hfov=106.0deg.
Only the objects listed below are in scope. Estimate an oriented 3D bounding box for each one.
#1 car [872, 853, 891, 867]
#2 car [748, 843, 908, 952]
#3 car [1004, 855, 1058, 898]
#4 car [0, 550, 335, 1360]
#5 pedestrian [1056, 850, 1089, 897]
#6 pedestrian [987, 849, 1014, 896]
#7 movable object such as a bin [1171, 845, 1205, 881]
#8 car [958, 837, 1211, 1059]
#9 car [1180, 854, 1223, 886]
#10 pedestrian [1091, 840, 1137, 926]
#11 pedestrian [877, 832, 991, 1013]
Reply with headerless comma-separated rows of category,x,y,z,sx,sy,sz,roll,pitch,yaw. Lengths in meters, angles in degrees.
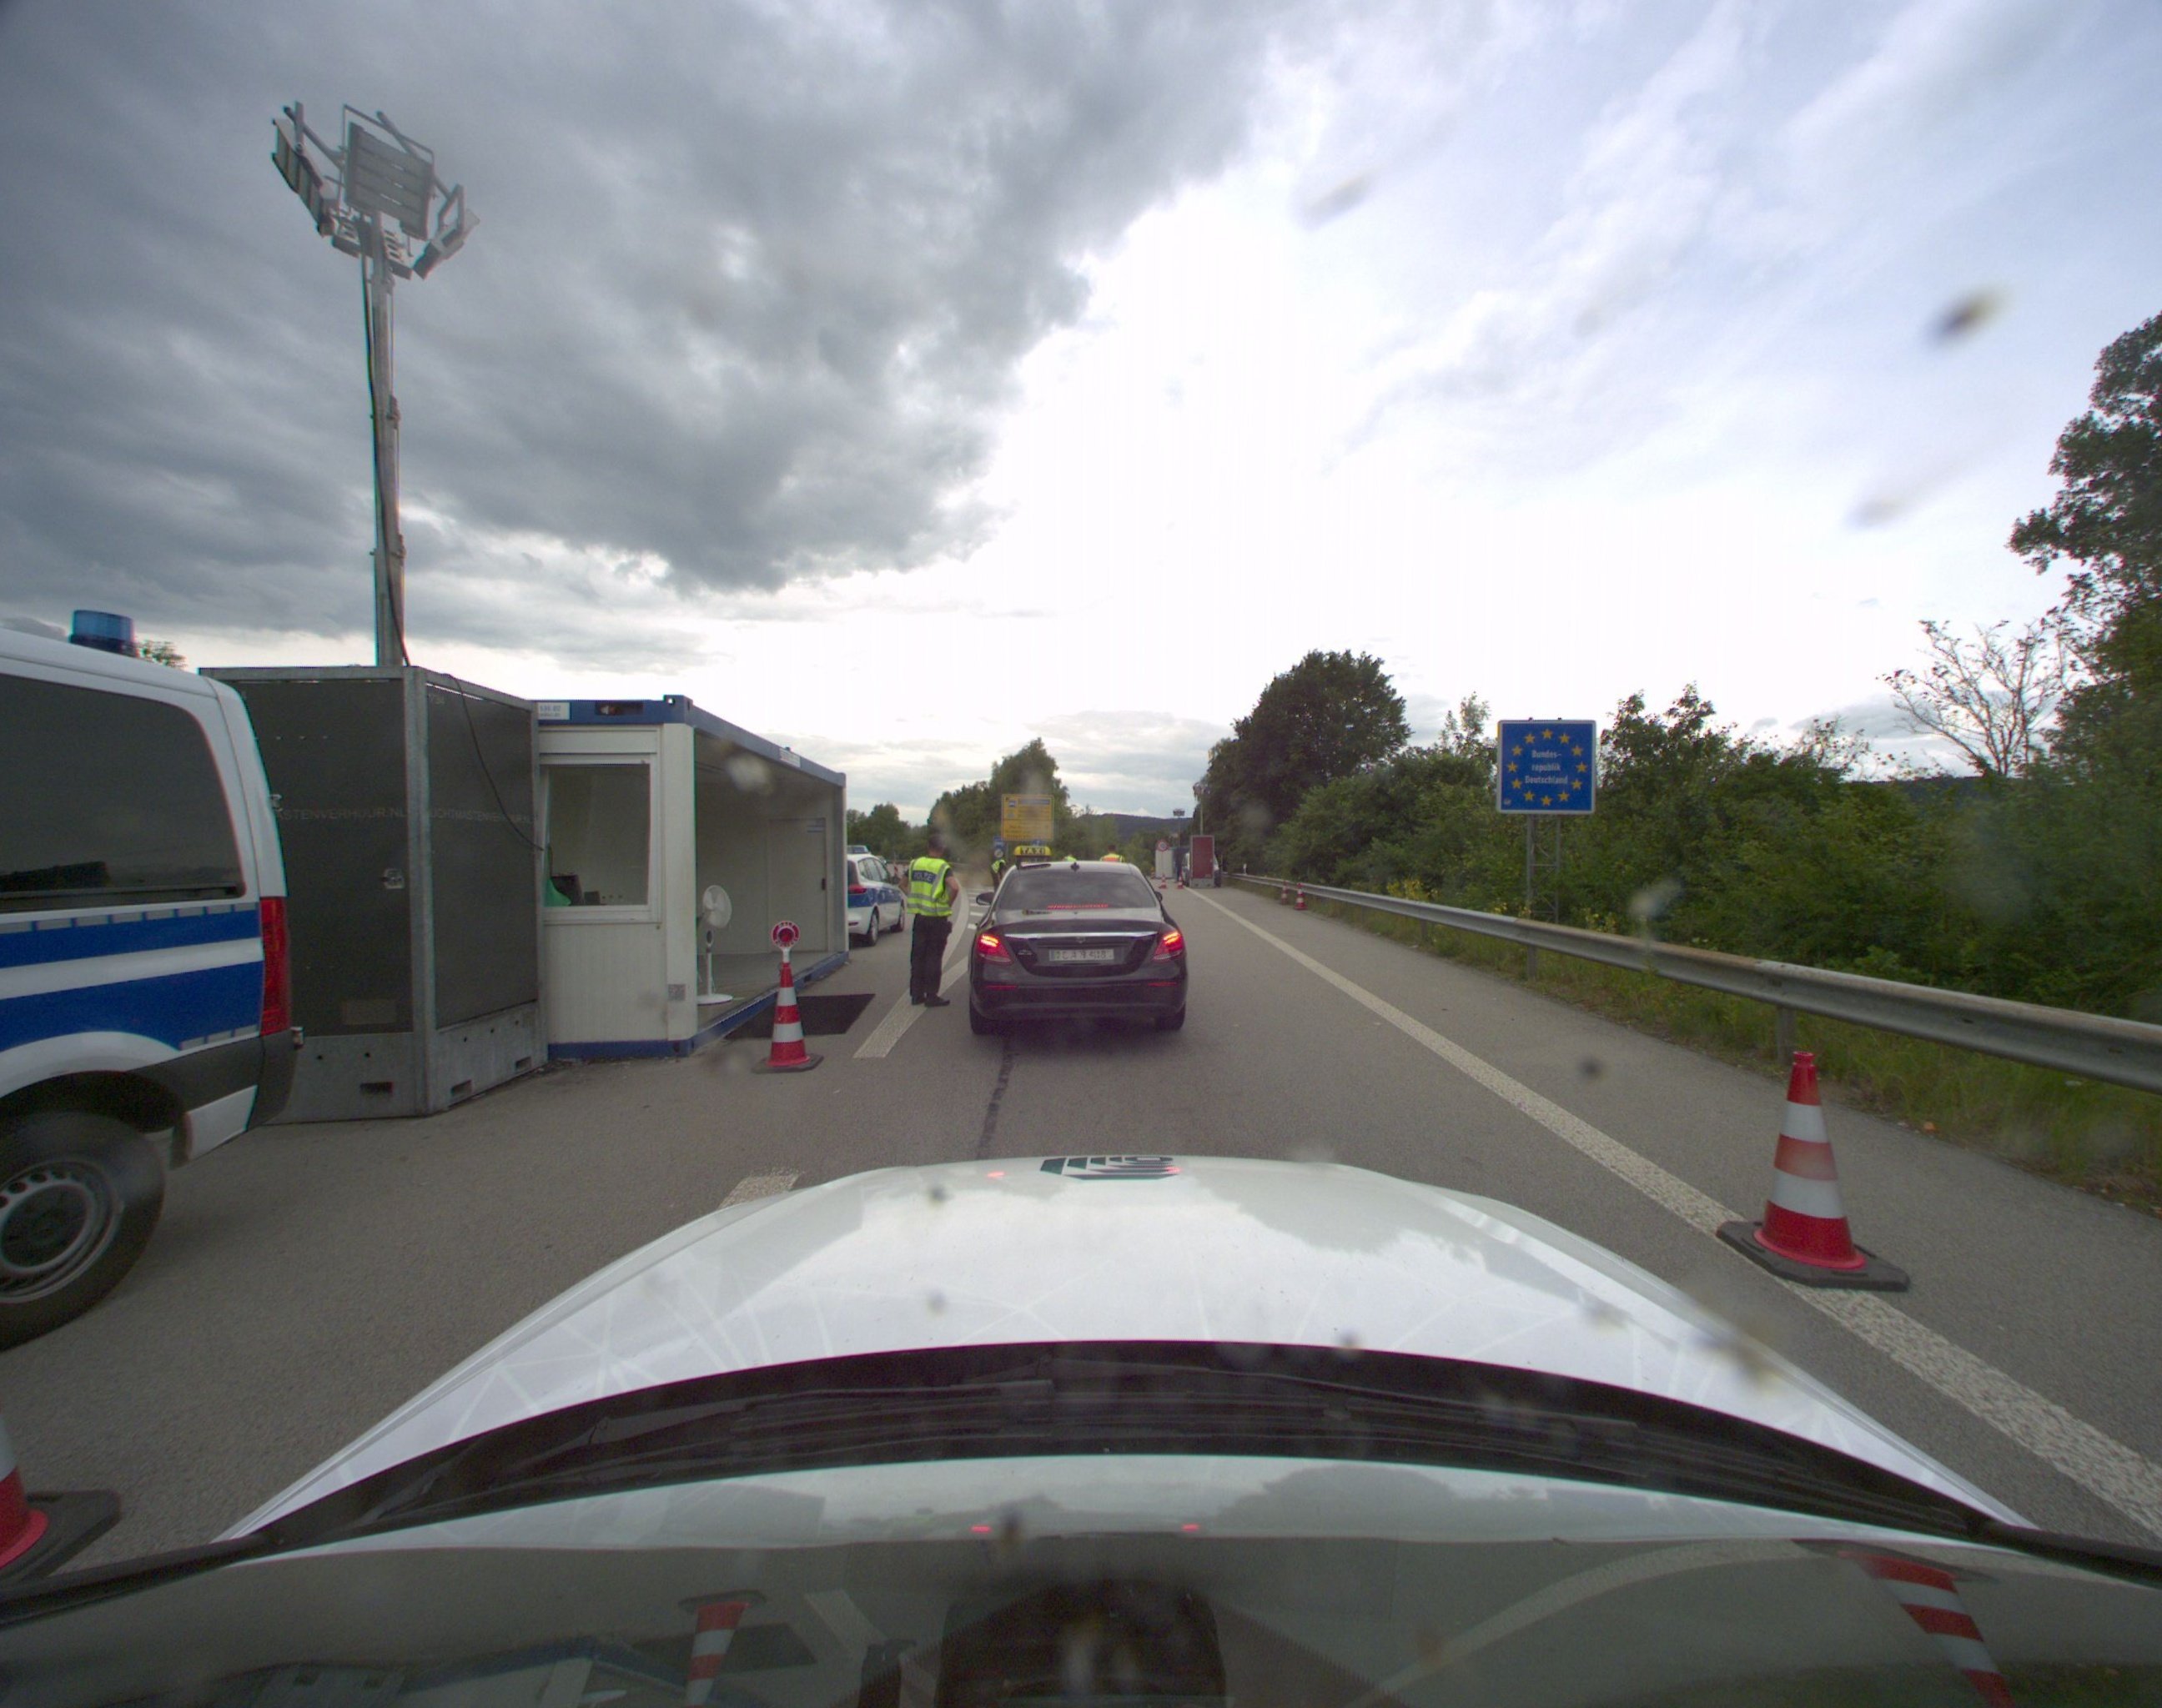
car,-21.451,0.657,87.648,1.857,1.498,4.238,-1,0,-13
car,-4.555,0.711,15.327,1.864,1.743,4.005,-1,0,-2
car,-1.828,0.811,31.091,1.850,1.498,4.254,-1,0,-1
car,-4.263,0.311,0.935,2.023,2.463,5.276,-1,0,-2
pedestrian,-0.315,0.695,30.016,0.914,1.698,0.905,0,-1,-30
pedestrian,-3.060,0.706,31.029,0.908,1.769,0.911,-1,0,-1
movable object such as a bin,7.162,0.592,54.754,1.984,2.280,4.172,-1,0,4
car,-0.071,0.691,8.179,1.851,1.595,4.371,-1,0,-3
car,6.726,0.868,45.913,1.908,1.678,5.087,1,0,3
pedestrian,0.732,0.632,18.014,0.806,1.830,0.813,-1,-1,16
pedestrian,-1.493,0.654,8.294,0.752,1.718,0.823,-2,-1,39
